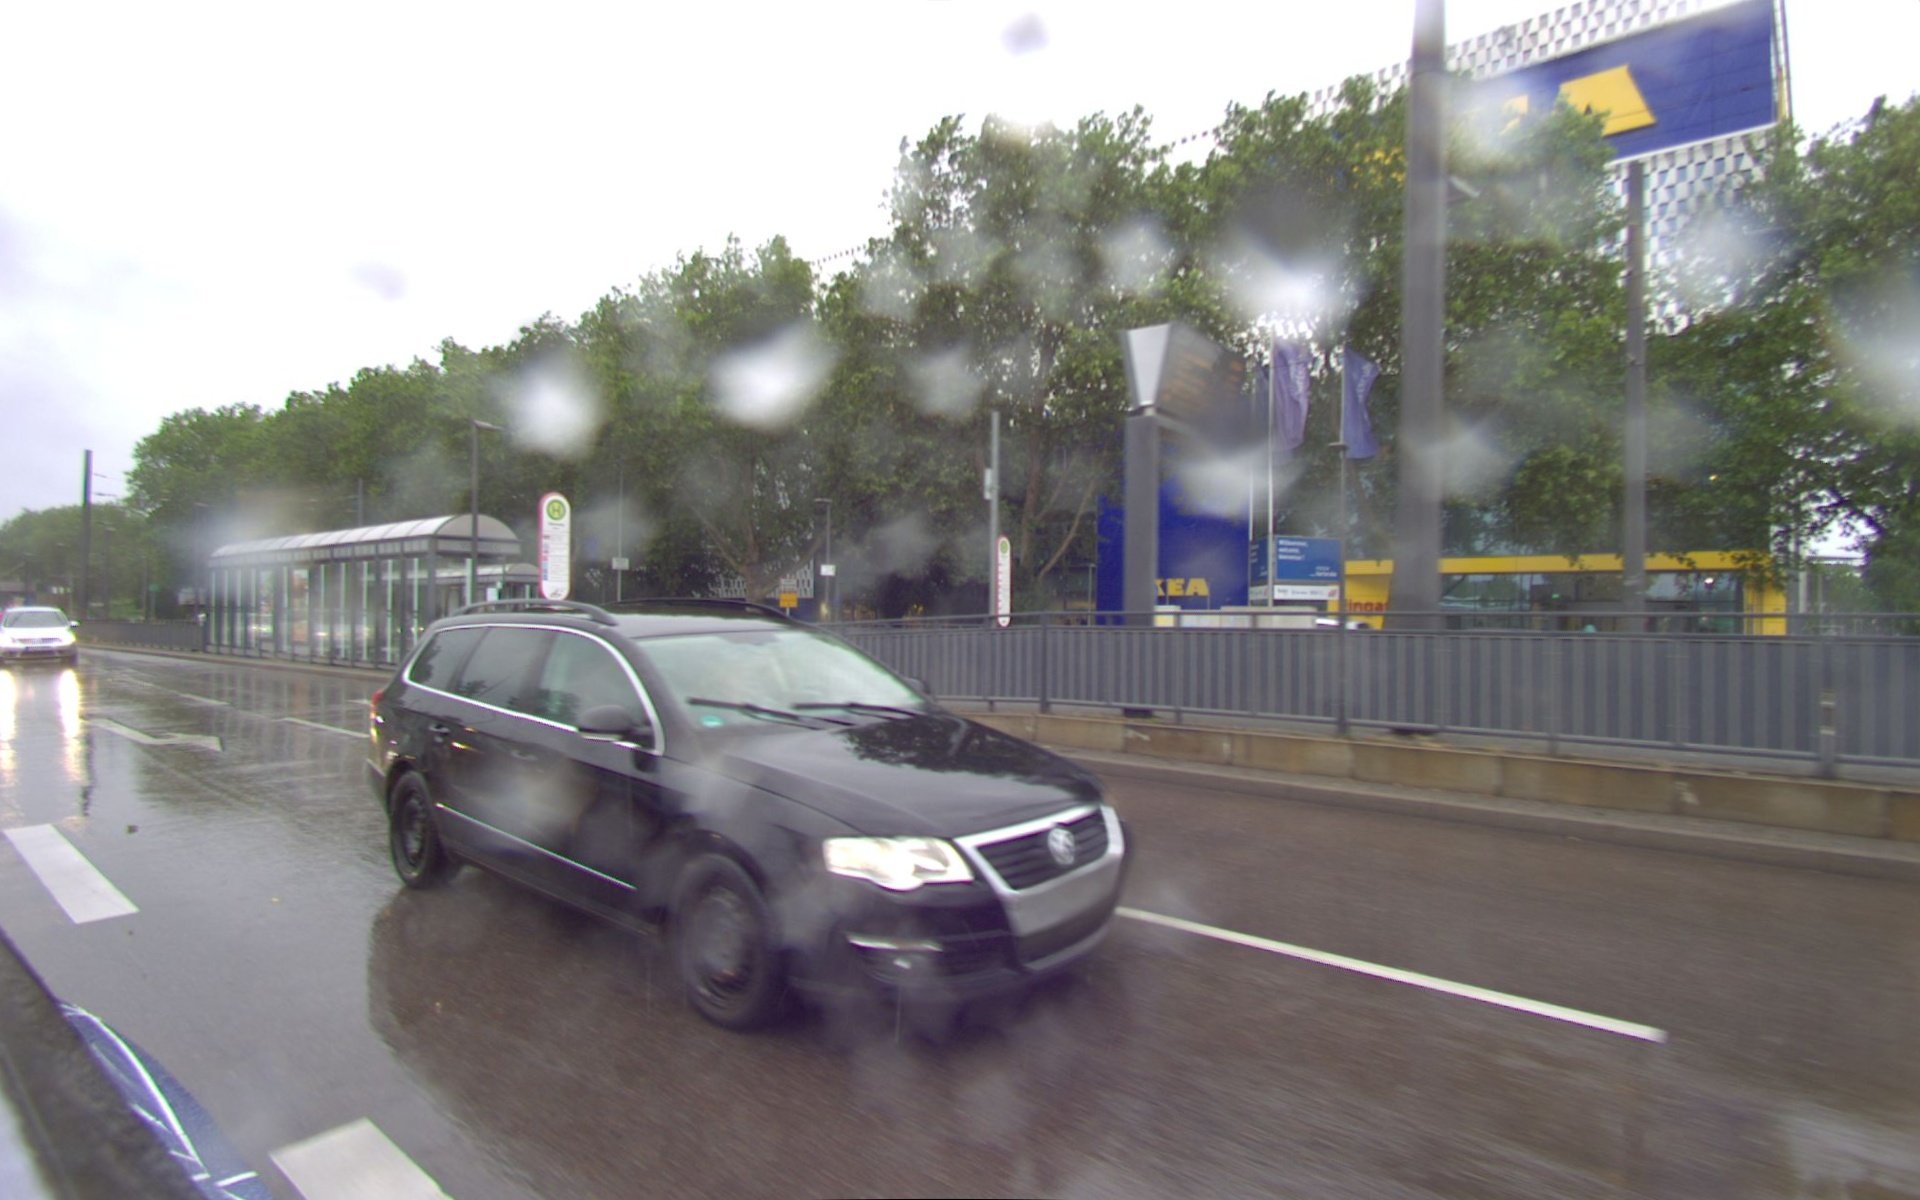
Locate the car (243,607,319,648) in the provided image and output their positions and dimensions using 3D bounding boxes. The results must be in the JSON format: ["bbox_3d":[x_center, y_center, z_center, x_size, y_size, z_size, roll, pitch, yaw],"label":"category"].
[{"bbox_3d":[-29.093,1.143,43.308,3.999,1.618,1.770,0,1,42],"label":"car"}]

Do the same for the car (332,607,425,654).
[{"bbox_3d":[-18.426,0.930,32.031,3.615,1.371,1.507,0,1,42],"label":"car"}]

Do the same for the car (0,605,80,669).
[{"bbox_3d":[-26.117,0.984,28.297,3.998,1.618,1.771,0,1,41],"label":"car"}]

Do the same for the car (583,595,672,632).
[{"bbox_3d":[-13.994,0.539,42.556,3.870,1.503,1.682,0,1,38],"label":"car"}]

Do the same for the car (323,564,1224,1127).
[{"bbox_3d":[-1.249,0.646,4.870,4.593,1.512,1.754,0,0,40],"label":"car"}]

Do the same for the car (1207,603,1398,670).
[{"bbox_3d":[7.726,0.770,23.008,3.829,1.346,1.571,1,1,41],"label":"car"}]
